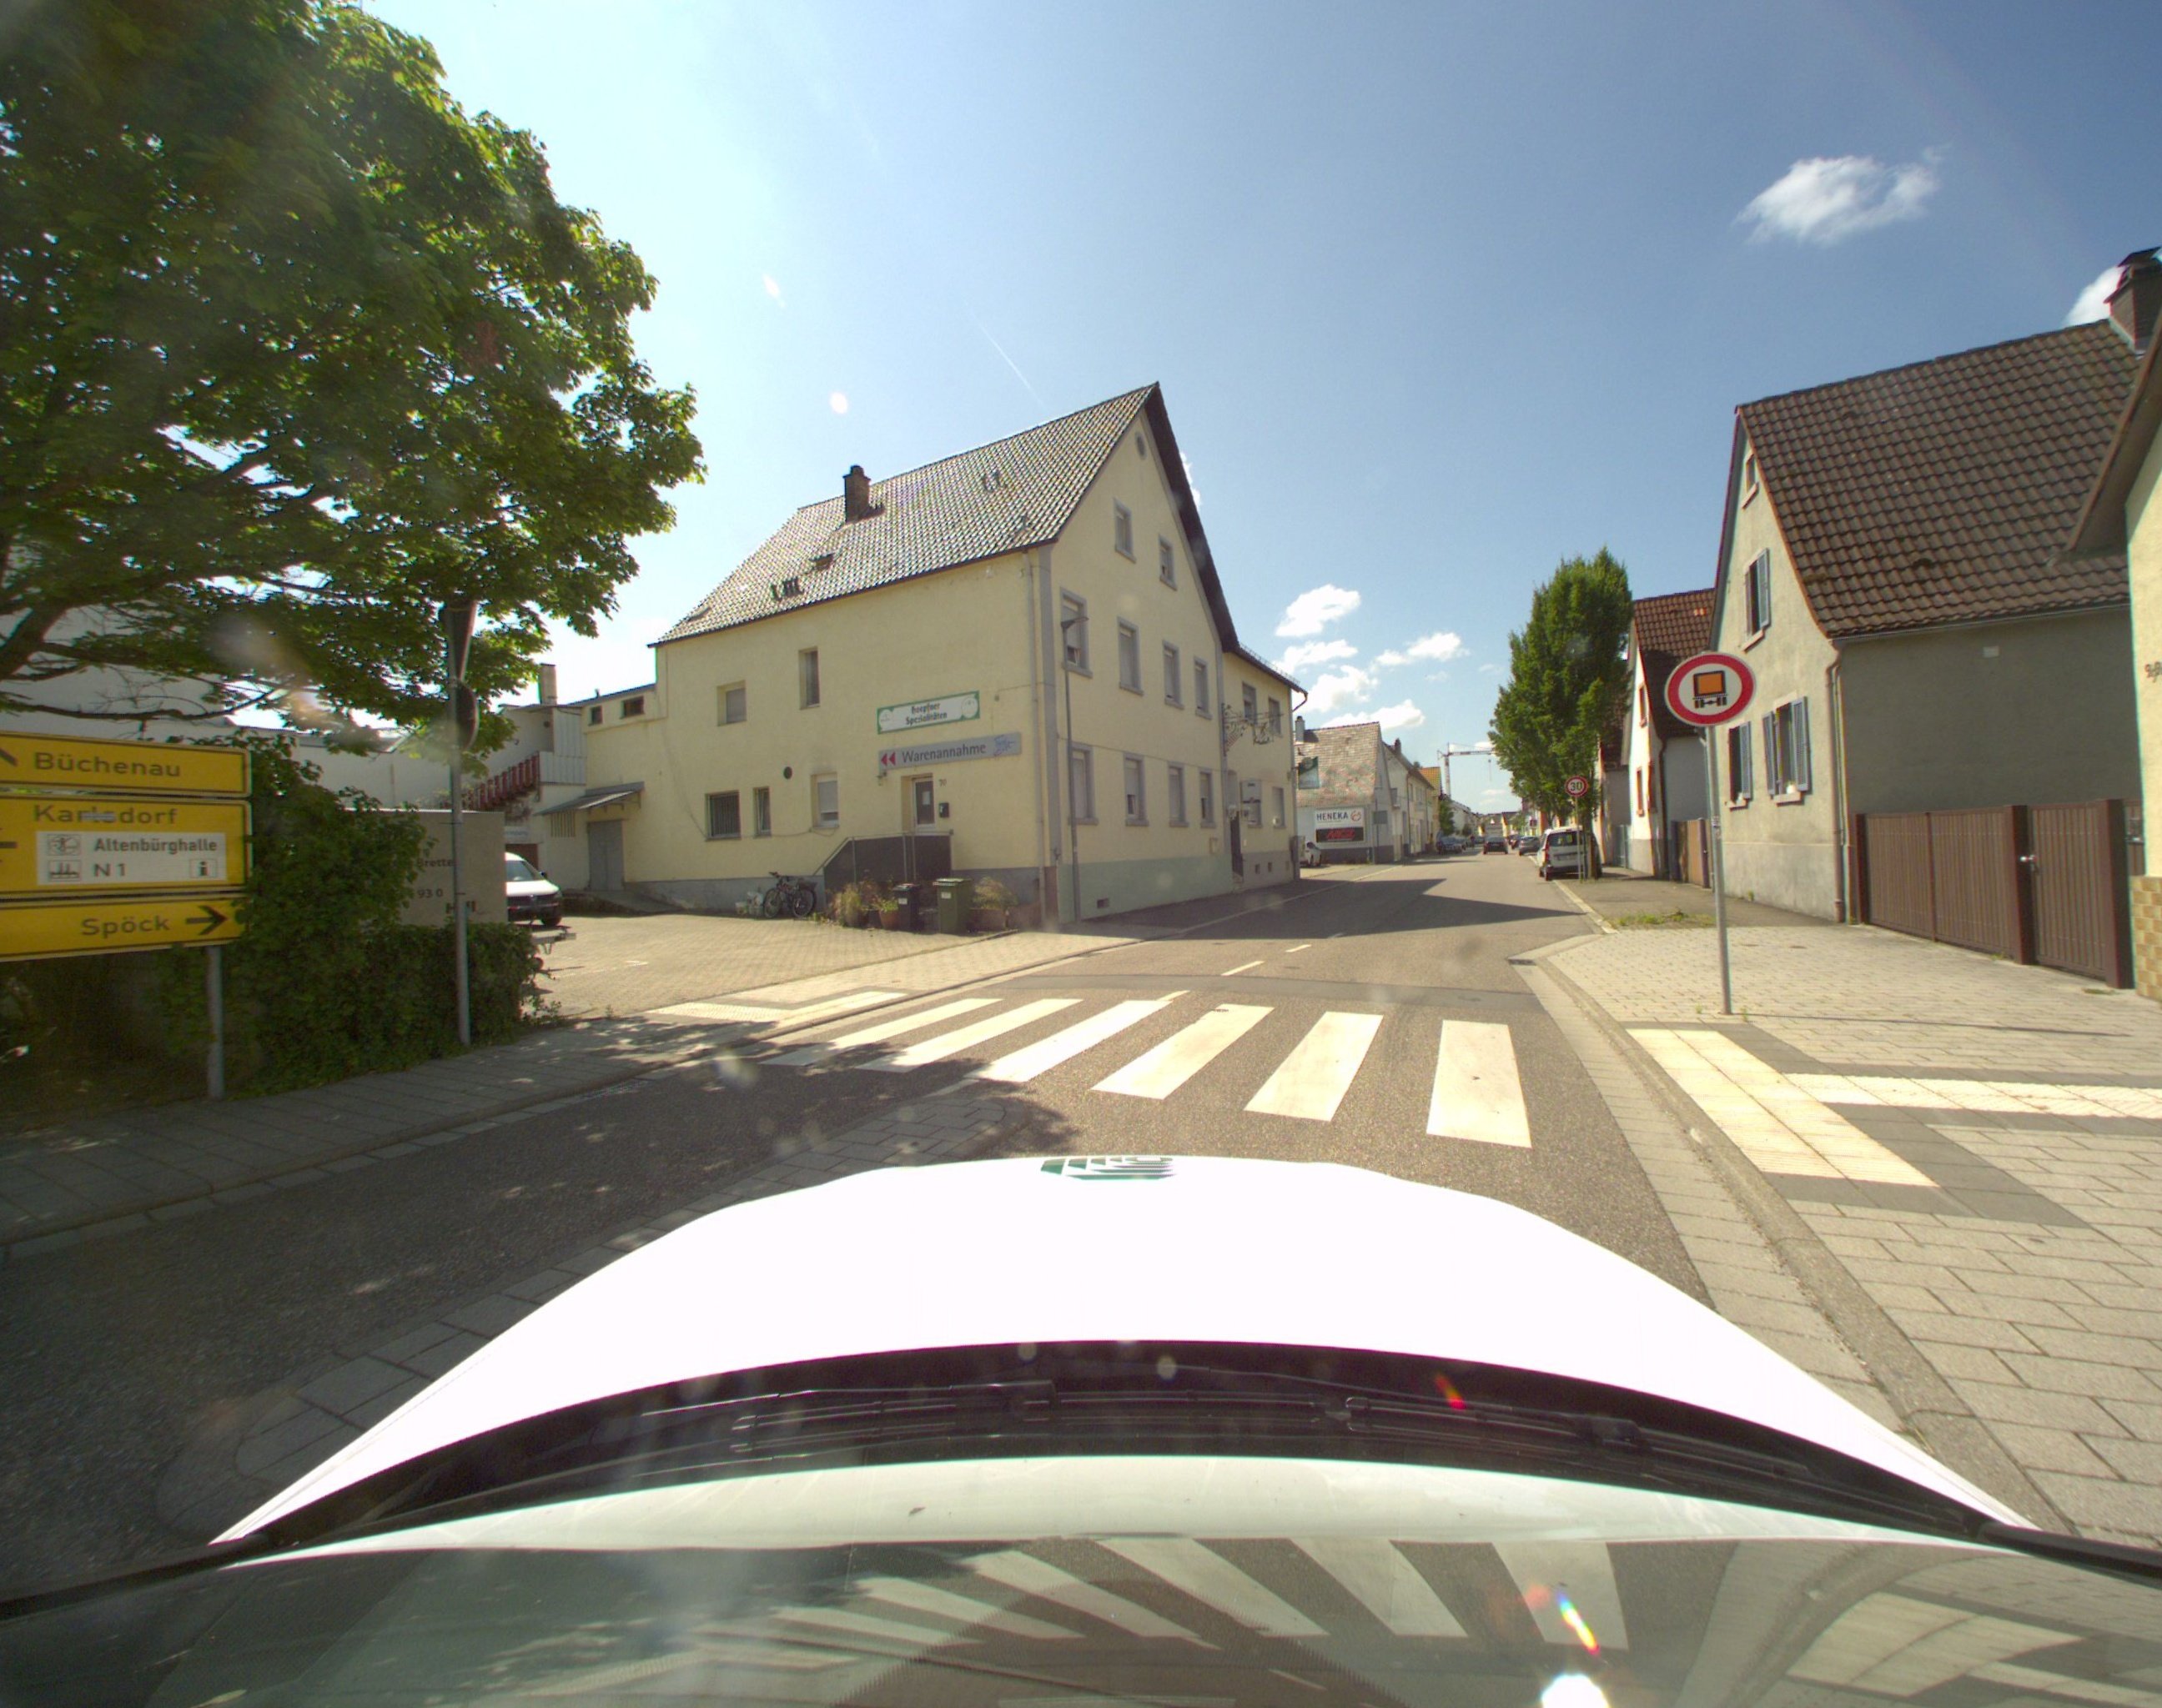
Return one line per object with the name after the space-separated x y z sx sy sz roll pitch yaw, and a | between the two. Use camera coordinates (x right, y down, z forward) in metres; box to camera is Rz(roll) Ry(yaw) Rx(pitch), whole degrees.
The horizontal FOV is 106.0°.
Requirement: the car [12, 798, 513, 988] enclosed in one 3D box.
-13.365 0.473 13.934 1.918 2.566 5.682 -1 1 28 | car

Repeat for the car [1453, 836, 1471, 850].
46.668 -1.352 99.661 1.792 1.589 4.024 -2 0 27 | car

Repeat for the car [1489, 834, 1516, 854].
34.886 -0.827 67.348 1.884 1.563 4.504 -2 1 29 | car

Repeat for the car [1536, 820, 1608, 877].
17.228 -0.213 28.725 1.703 1.790 4.168 -4 -1 26 | car

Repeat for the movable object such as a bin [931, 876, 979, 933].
-2.488 0.995 16.105 0.594 1.078 0.662 -3 0 30 | movable object such as a bin

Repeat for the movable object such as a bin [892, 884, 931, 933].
-3.424 1.097 16.459 0.474 0.928 0.550 -3 0 30 | movable object such as a bin

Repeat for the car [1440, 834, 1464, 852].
35.225 -1.030 77.293 1.792 1.589 4.024 -2 0 27 | car

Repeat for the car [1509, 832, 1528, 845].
46.756 -1.680 87.016 1.703 1.355 4.182 -2 0 28 | car

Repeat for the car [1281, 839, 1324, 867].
13.458 -0.089 49.343 1.704 1.556 4.224 -1 1 26 | car

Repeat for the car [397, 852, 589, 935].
-14.022 0.854 19.397 4.524 1.759 1.917 0 0 29 | car

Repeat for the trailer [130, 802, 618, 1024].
-9.074 0.581 10.992 1.861 2.335 4.551 -1 1 28 | trailer

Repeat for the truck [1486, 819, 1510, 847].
68.255 -3.383 133.235 3.115 4.250 9.359 0 0 29 | truck

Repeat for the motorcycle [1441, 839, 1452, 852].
33.181 -0.757 73.968 0.838 1.169 2.484 -1 0 26 | motorcycle

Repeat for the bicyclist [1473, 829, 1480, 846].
49.094 -2.022 101.013 0.733 2.059 0.849 -1 0 27 | bicyclist

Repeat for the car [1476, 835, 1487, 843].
79.681 -3.026 161.890 1.792 1.589 4.024 -2 0 27 | car

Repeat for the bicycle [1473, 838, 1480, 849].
49.053 -1.261 100.931 0.744 1.308 2.701 -1 0 27 | bicycle

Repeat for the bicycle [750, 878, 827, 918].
-7.227 1.099 20.078 2.148 0.913 0.546 -3 0 33 | bicycle

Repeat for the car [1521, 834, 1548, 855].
34.305 -0.757 61.596 1.703 1.461 4.182 -2 0 29 | car
